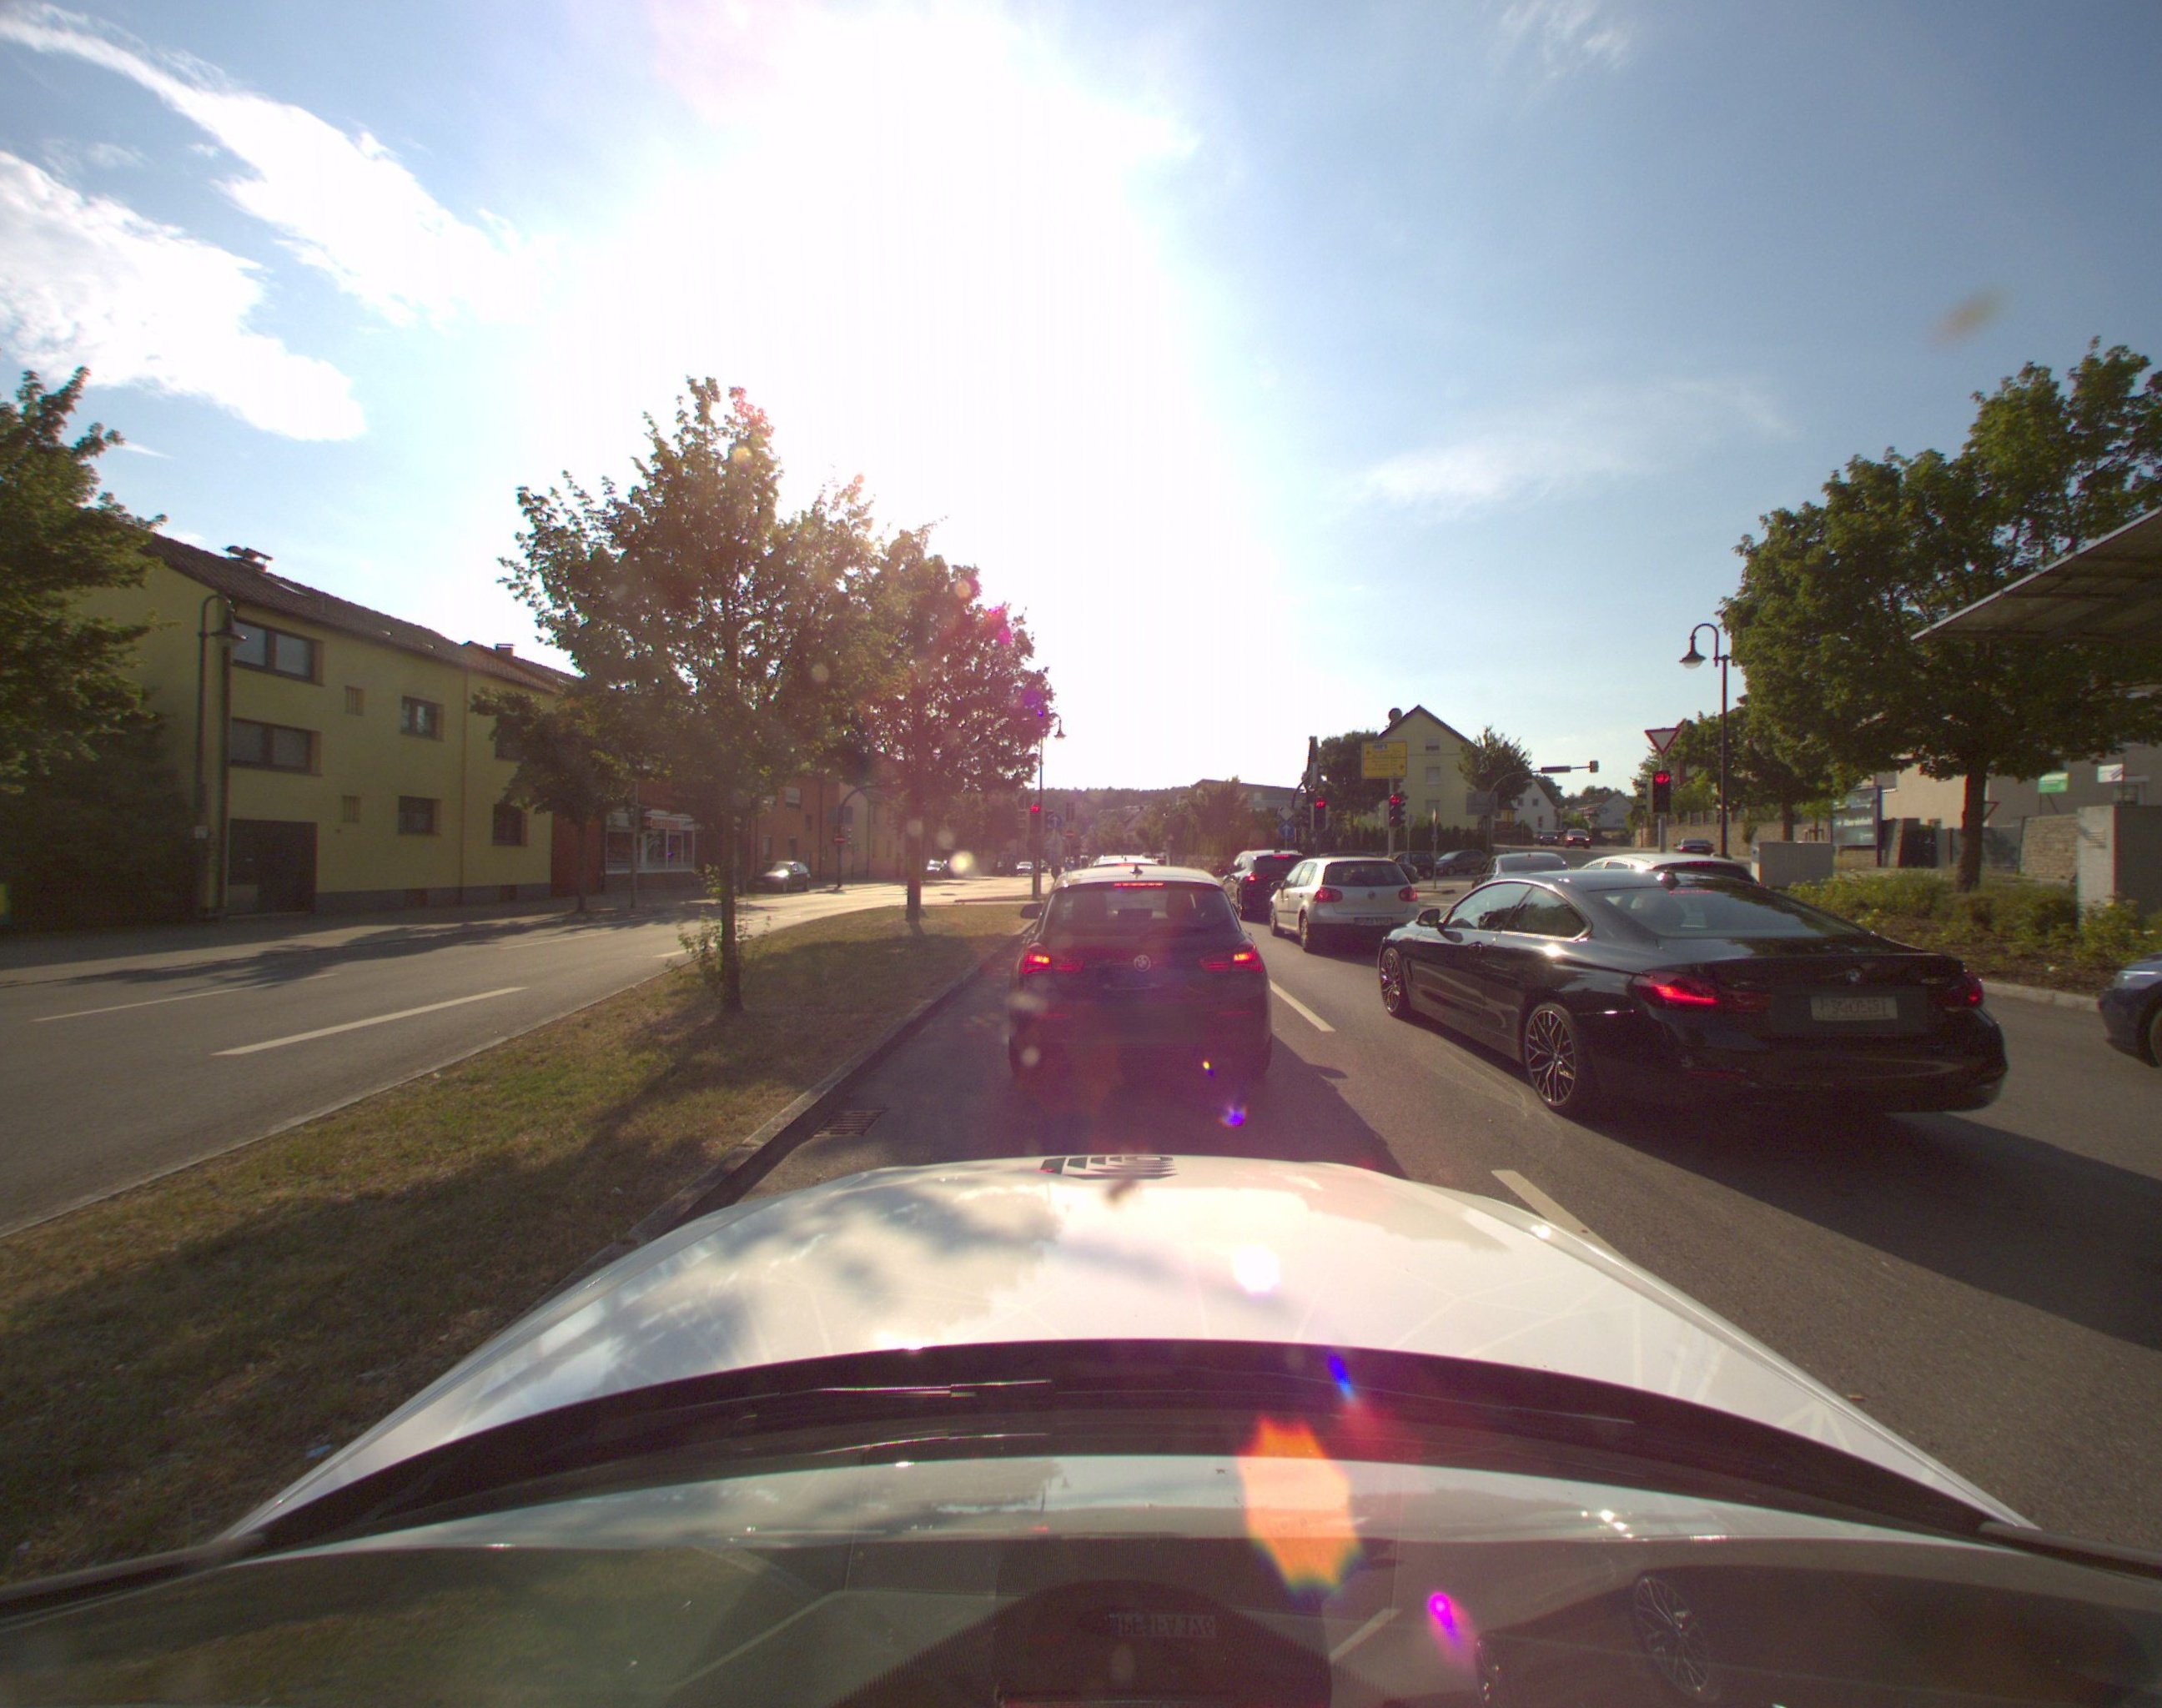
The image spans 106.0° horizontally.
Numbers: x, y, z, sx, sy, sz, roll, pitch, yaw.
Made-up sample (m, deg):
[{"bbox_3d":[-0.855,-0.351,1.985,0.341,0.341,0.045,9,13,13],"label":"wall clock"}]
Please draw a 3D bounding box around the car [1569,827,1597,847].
[{"bbox_3d":[44.345,-1.495,72.011,1.825,1.641,4.458,0,0,28],"label":"car"}]

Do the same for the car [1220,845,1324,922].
[{"bbox_3d":[4.573,0.649,20.033,1.755,1.656,3.905,-2,0,2],"label":"car"}]

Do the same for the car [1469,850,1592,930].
[{"bbox_3d":[9.886,0.714,18.226,1.642,1.542,4.420,-2,0,19],"label":"car"}]

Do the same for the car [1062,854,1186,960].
[{"bbox_3d":[0.724,0.779,14.100,1.781,1.494,4.283,-2,0,2],"label":"car"}]

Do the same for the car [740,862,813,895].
[{"bbox_3d":[-14.135,1.109,38.019,1.730,1.301,4.002,4,0,2],"label":"car"}]

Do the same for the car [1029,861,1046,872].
[{"bbox_3d":[-5.846,1.698,110.260,1.729,1.301,3.804,4,0,5],"label":"car"}]

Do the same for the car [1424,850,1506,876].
[{"bbox_3d":[22.608,0.527,48.074,3.974,1.489,1.848,0,0,-1],"label":"car"}]

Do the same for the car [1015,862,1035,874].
[{"bbox_3d":[-6.556,1.628,96.312,1.729,1.301,3.804,4,0,5],"label":"car"}]

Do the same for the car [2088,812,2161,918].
[{"bbox_3d":[18.498,0.160,12.374,3.793,1.632,1.784,0,0,10],"label":"car"}]

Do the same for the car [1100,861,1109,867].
[{"bbox_3d":[5.247,2.244,184.277,1.729,1.301,3.804,4,0,5],"label":"car"}]

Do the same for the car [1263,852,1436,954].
[{"bbox_3d":[4.326,0.715,13.751,1.755,1.426,3.905,-2,0,2],"label":"car"}]

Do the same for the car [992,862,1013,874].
[{"bbox_3d":[-9.347,1.649,97.556,1.729,1.301,3.804,4,0,5],"label":"car"}]

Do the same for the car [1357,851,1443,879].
[{"bbox_3d":[17.349,0.573,44.348,3.974,1.489,1.848,0,0,-1],"label":"car"}]

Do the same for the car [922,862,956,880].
[{"bbox_3d":[-11.742,1.421,67.582,1.728,1.301,4.006,4,0,6],"label":"car"}]

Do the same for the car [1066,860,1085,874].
[{"bbox_3d":[-0.592,1.498,91.711,1.830,1.482,4.005,-1,0,5],"label":"car"}]

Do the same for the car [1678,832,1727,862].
[{"bbox_3d":[36.309,-0.406,47.537,1.946,1.680,4.241,-2,0,42],"label":"car"}]

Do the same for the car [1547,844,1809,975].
[{"bbox_3d":[8.115,0.671,11.453,1.608,1.542,3.326,-2,0,9],"label":"car"}]

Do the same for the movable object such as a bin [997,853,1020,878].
[{"bbox_3d":[-7.562,1.186,85.320,1.729,2.442,4.452,-1,0,3],"label":"movable object such as a bin"}]

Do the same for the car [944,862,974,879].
[{"bbox_3d":[-11.046,1.466,73.845,1.729,1.301,4.005,4,0,5],"label":"car"}]

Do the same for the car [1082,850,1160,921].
[{"bbox_3d":[1.025,0.739,21.139,1.781,1.594,4.283,-2,0,2],"label":"car"}]

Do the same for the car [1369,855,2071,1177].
[{"bbox_3d":[3.625,0.738,5.811,1.755,1.397,4.283,-2,0,2],"label":"car"}]

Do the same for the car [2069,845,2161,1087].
[{"bbox_3d":[7.343,0.653,3.189,1.755,1.453,4.320,-2,0,2],"label":"car"}]

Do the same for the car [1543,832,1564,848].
[{"bbox_3d":[54.586,-1.625,93.977,1.824,1.739,4.815,-1,0,33],"label":"car"}]

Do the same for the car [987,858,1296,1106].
[{"bbox_3d":[0.447,0.771,6.956,1.781,1.397,4.283,-2,0,2],"label":"car"}]

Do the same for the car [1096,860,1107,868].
[{"bbox_3d":[4.089,1.982,160.774,1.729,1.301,3.804,4,0,5],"label":"car"}]

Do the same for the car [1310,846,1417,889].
[{"bbox_3d":[11.935,0.566,34.661,4.169,1.680,1.979,-2,0,16],"label":"car"}]
